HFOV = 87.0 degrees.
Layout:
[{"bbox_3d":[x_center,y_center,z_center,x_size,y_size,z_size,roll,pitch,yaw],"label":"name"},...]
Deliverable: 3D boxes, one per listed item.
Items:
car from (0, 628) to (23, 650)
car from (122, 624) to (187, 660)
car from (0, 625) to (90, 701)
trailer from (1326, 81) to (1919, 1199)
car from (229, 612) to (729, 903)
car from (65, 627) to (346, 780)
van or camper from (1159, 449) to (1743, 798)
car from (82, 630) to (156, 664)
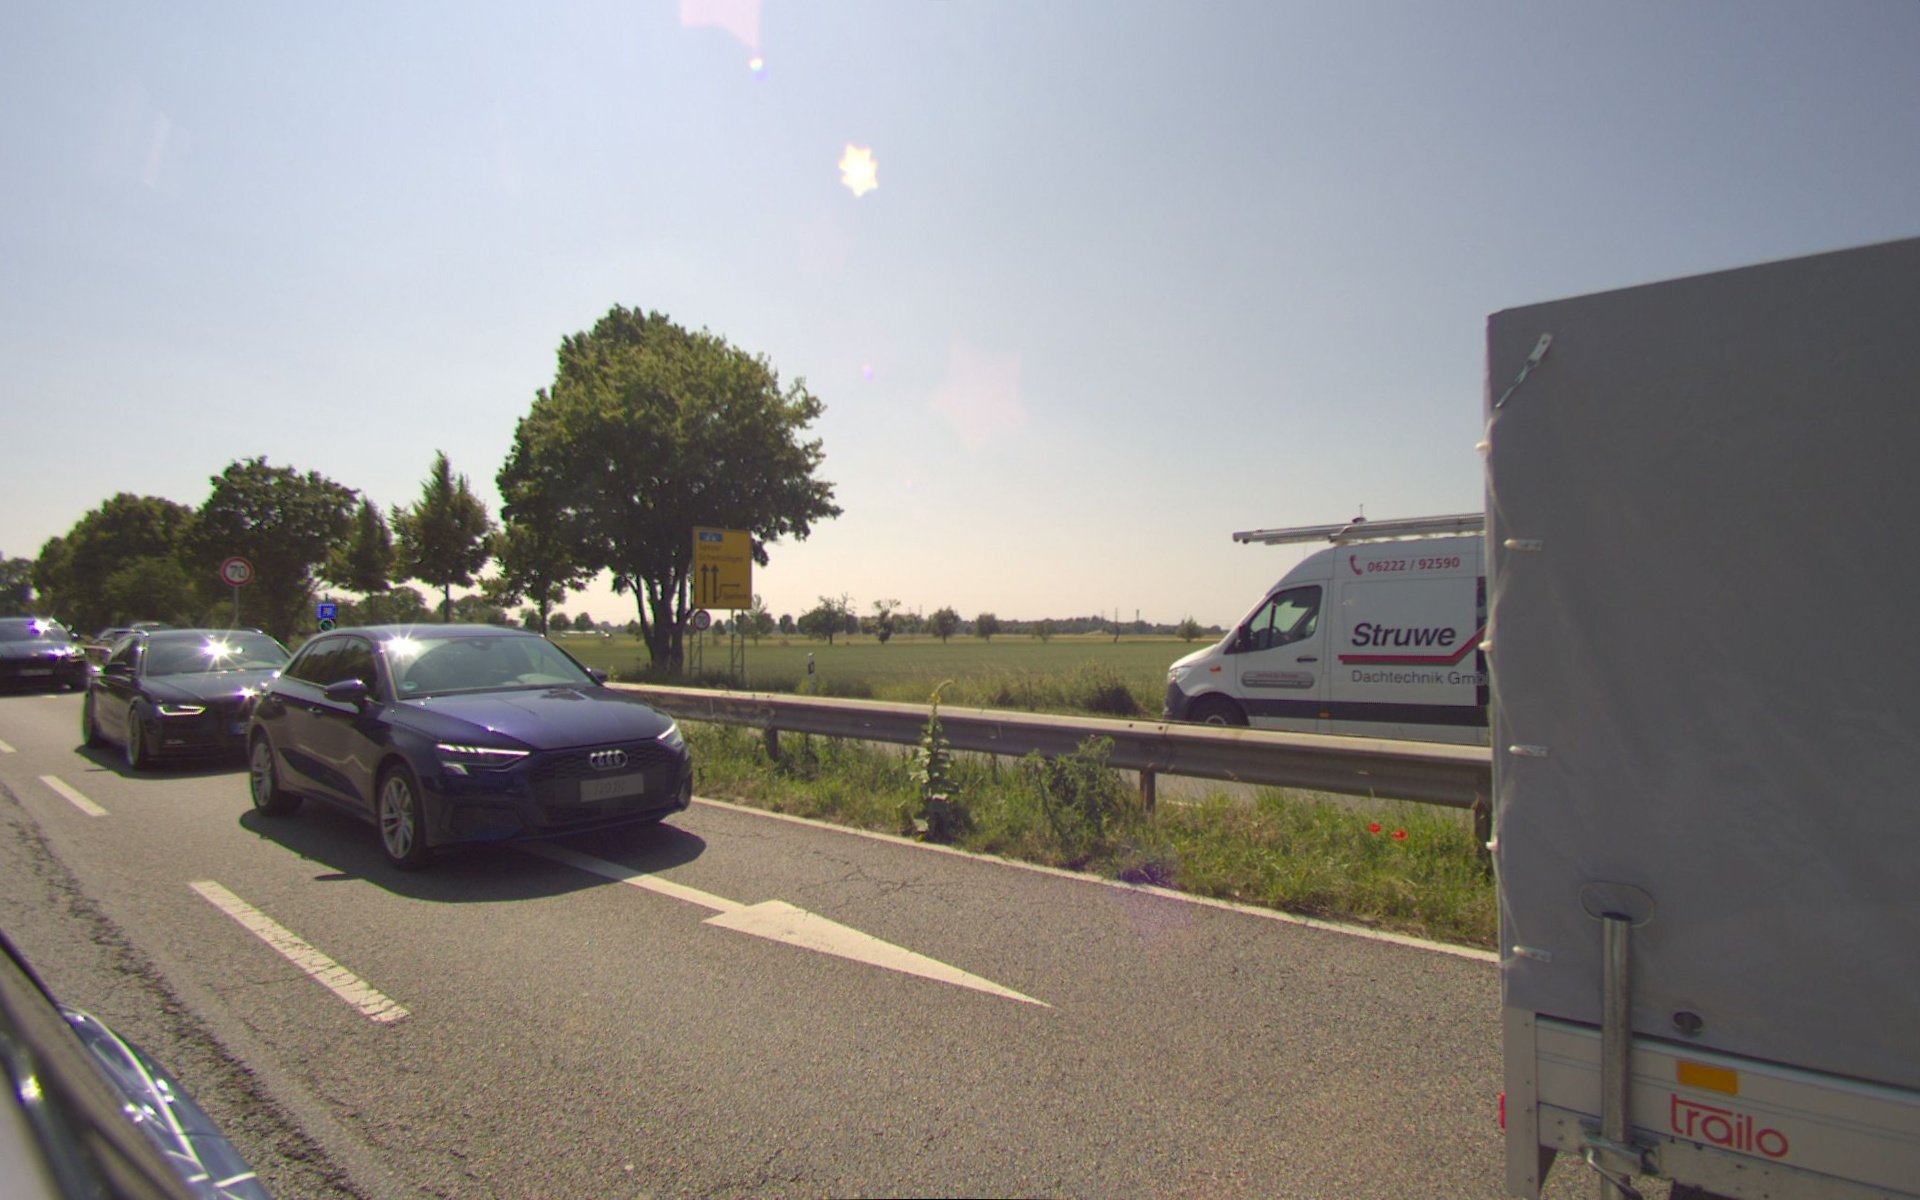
[{"bbox_3d":[-72.193,2.961,76.113,4.478,1.615,1.973,-2,-3,41],"label":"car"},{"bbox_3d":[-45.821,2.398,57.530,4.827,1.966,1.973,-2,-4,41],"label":"car"},{"bbox_3d":[-20.822,1.338,22.349,4.097,1.527,1.837,-2,-1,40],"label":"car"},{"bbox_3d":[2.834,0.284,1.288,4.172,2.190,1.485,-2,-1,41],"label":"trailer"},{"bbox_3d":[-3.566,0.858,7.161,4.027,1.476,1.699,-2,-1,40],"label":"car"},{"bbox_3d":[-8.755,1.029,11.585,4.453,1.391,1.722,-2,-1,42],"label":"car"},{"bbox_3d":[5.403,0.301,11.747,5.691,3.123,2.240,-2,-3,40],"label":"van or camper"},{"bbox_3d":[-37.759,2.075,45.405,4.502,1.465,1.859,-2,-2,41],"label":"car"}]
